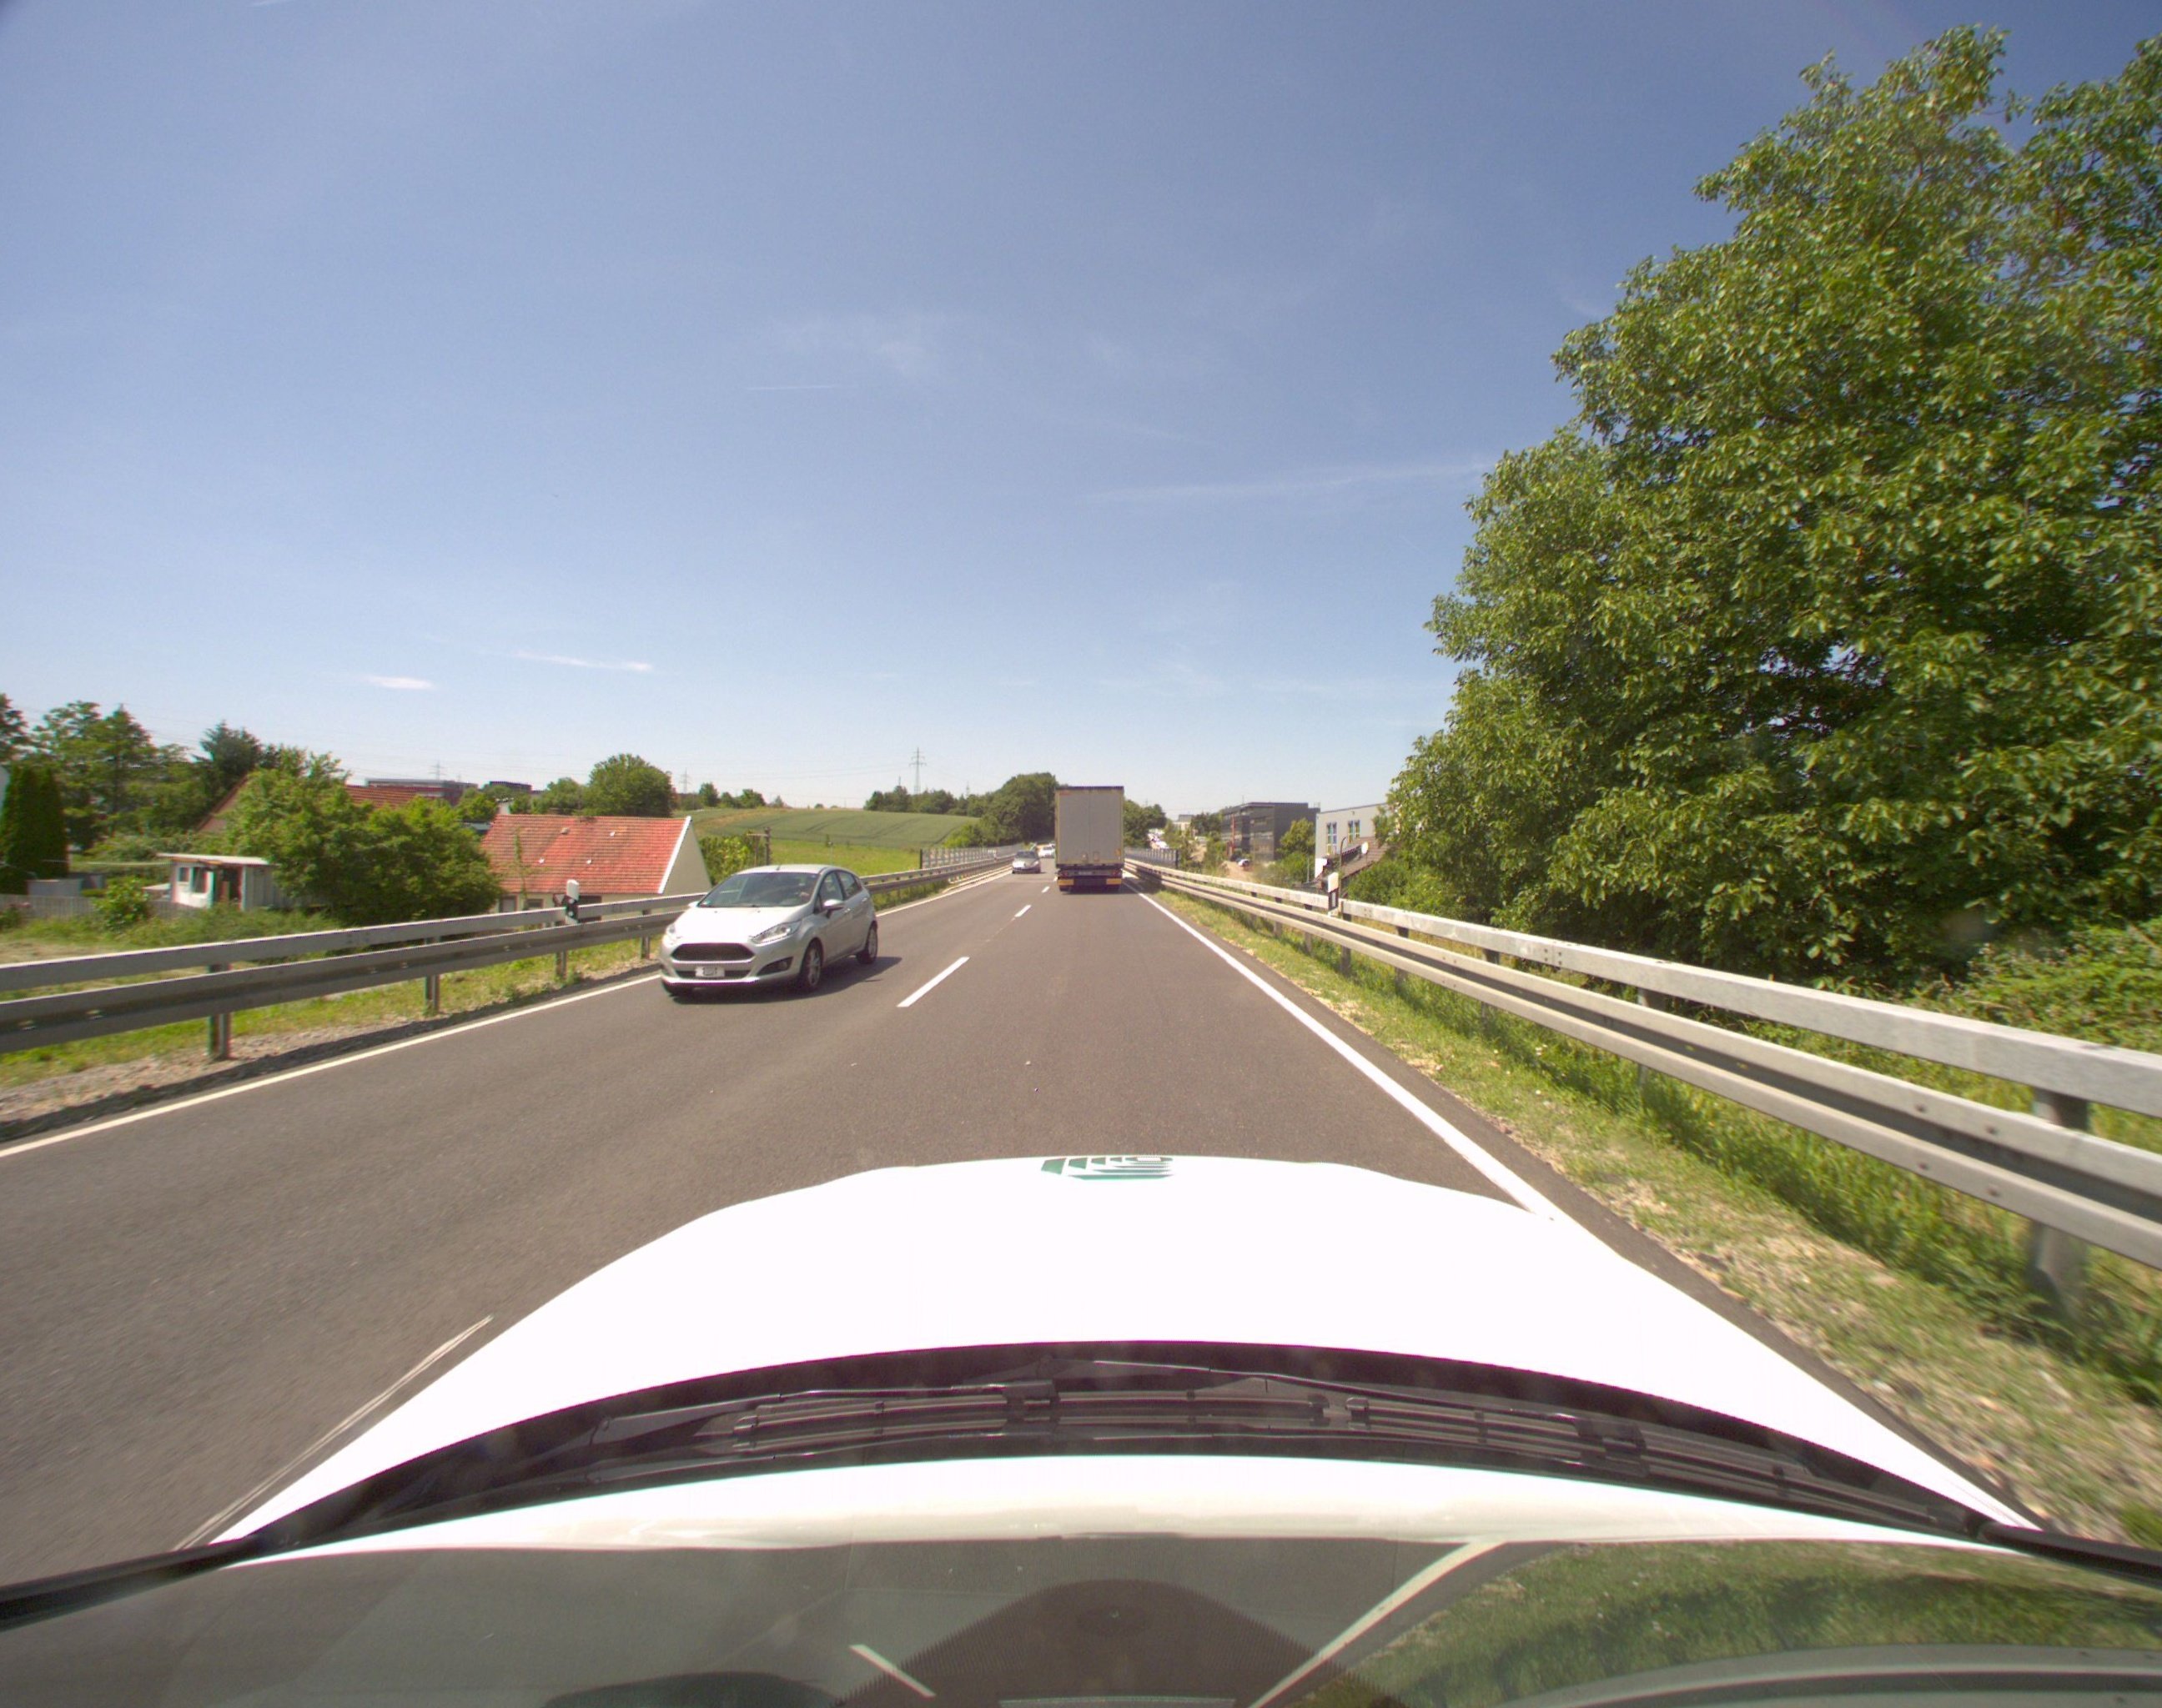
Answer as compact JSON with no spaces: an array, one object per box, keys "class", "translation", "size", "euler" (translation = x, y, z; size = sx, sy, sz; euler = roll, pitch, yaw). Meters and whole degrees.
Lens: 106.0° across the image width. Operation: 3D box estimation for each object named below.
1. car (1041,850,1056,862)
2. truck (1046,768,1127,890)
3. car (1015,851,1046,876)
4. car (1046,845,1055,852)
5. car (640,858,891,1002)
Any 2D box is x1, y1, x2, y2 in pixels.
[{"class":"car","translation":[-4.240,0.267,106.519],"size":[1.702,1.505,4.117],"euler":[-1,0,-1]},{"class":"truck","translation":[0.216,-0.867,34.498],"size":[2.857,4.359,9.786],"euler":[-1,0,0]},{"class":"car","translation":[-3.414,0.644,55.678],"size":[1.800,1.589,4.379],"euler":[-1,0,0]},{"class":"car","translation":[-6.109,-1.070,165.527],"size":[1.776,1.435,4.831],"euler":[-1,1,-2]},{"class":"car","translation":[-3.839,0.819,10.743],"size":[1.641,1.440,4.158],"euler":[-2,0,0]}]
